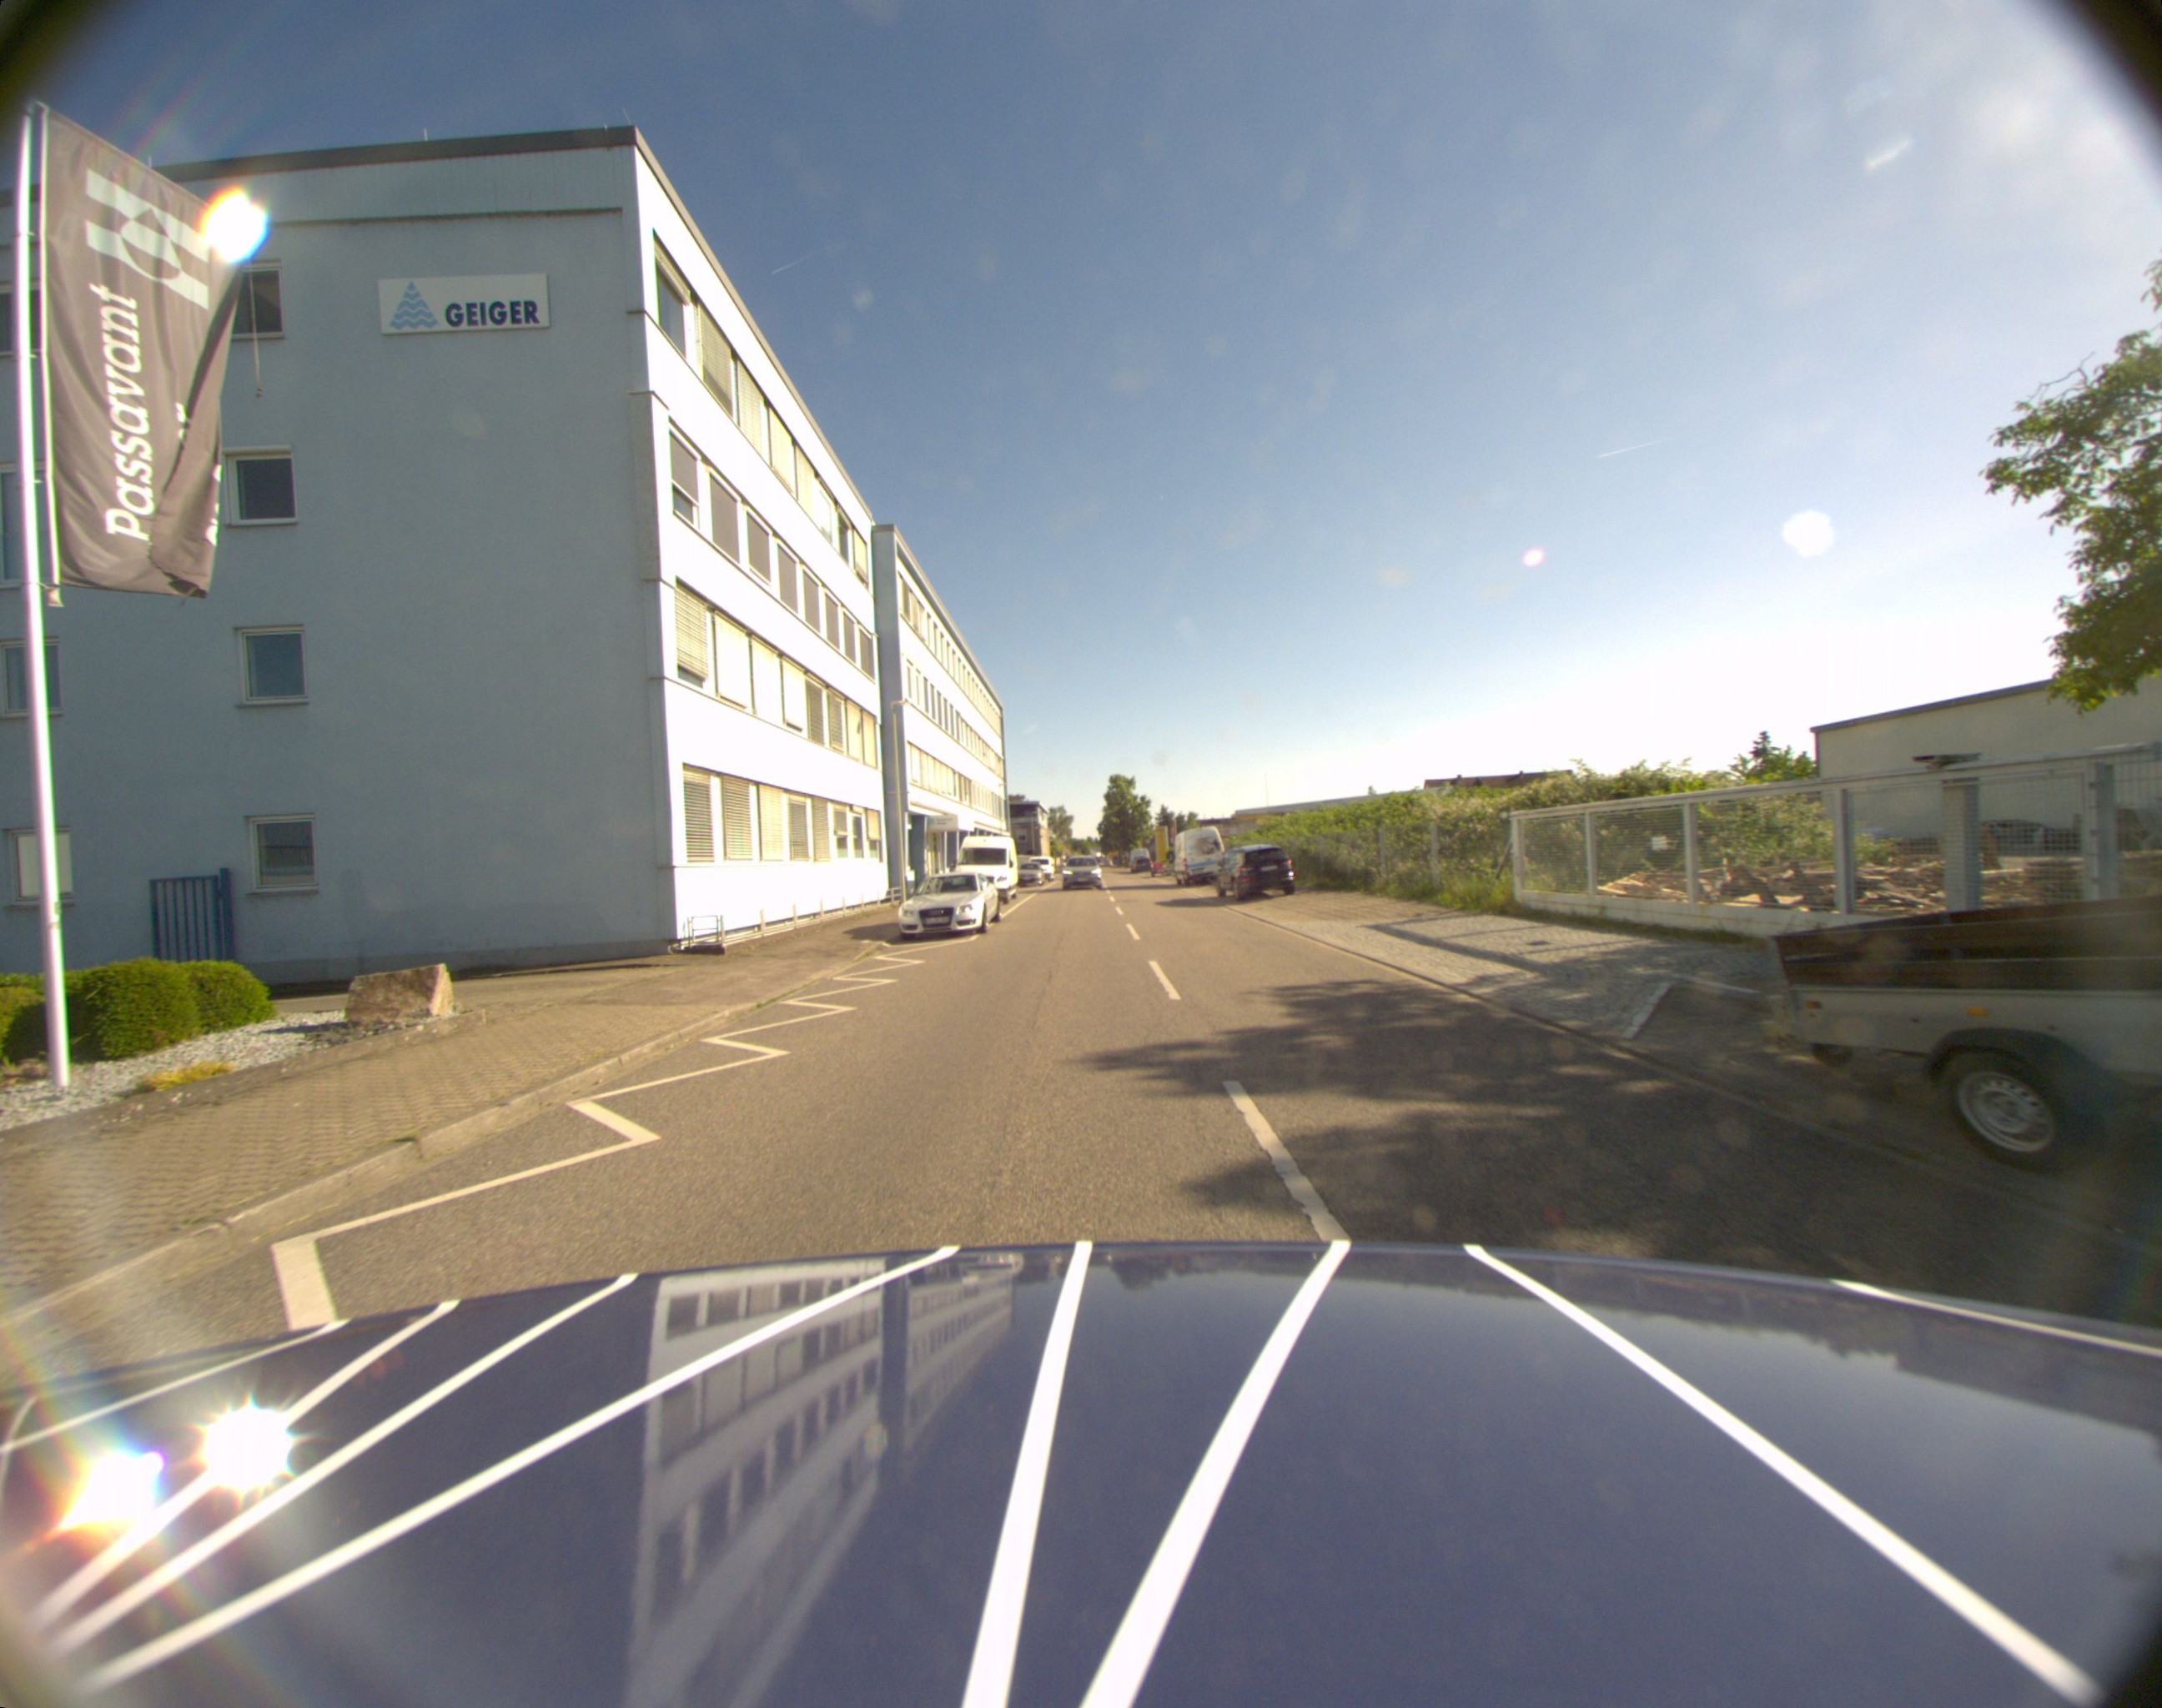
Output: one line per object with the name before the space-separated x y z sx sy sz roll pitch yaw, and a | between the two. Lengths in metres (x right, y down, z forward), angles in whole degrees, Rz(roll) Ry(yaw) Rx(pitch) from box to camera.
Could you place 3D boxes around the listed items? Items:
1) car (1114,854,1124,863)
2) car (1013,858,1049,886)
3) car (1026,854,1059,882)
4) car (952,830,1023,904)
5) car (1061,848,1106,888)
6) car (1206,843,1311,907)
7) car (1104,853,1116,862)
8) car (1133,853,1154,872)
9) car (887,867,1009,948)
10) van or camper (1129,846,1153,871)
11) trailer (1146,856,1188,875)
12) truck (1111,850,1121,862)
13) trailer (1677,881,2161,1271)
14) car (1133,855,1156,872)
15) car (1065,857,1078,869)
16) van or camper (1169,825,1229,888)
car | 7.916 0.907 159.177 1.779 1.838 4.616 -5 0 4
car | -3.106 1.089 47.951 1.894 1.551 5.090 -3 0 0
car | -2.771 0.969 55.656 1.894 1.821 5.091 -3 0 2
car | -3.510 0.509 29.645 1.999 2.582 6.051 -1 -1 0
car | 0.135 0.676 37.569 1.998 1.750 5.016 -3 0 0
car | 5.679 0.637 25.074 2.035 1.684 5.106 -7 0 -1
car | 4.845 0.622 127.648 1.751 1.439 4.360 -3 0 0
car | 6.661 0.868 81.562 1.998 1.727 4.576 -6 0 4
car | -2.998 1.147 18.251 1.899 1.397 5.123 -4 0 0
van or camper | 6.842 0.484 87.109 2.076 2.534 6.404 -7 0 1
trailer | 6.348 0.889 56.964 2.382 1.073 6.246 -6 -1 0
truck | 8.810 0.408 190.771 2.173 2.698 5.749 -4 1 1
trailer | 4.997 0.927 3.855 1.480 1.346 3.078 -4 0 1
car | 6.341 0.951 76.286 1.804 1.501 5.003 -6 0 1
car | -1.444 1.312 114.500 1.937 1.635 4.769 -2 0 -1
van or camper | 5.759 0.128 37.924 1.971 2.669 5.948 -8 0 2
